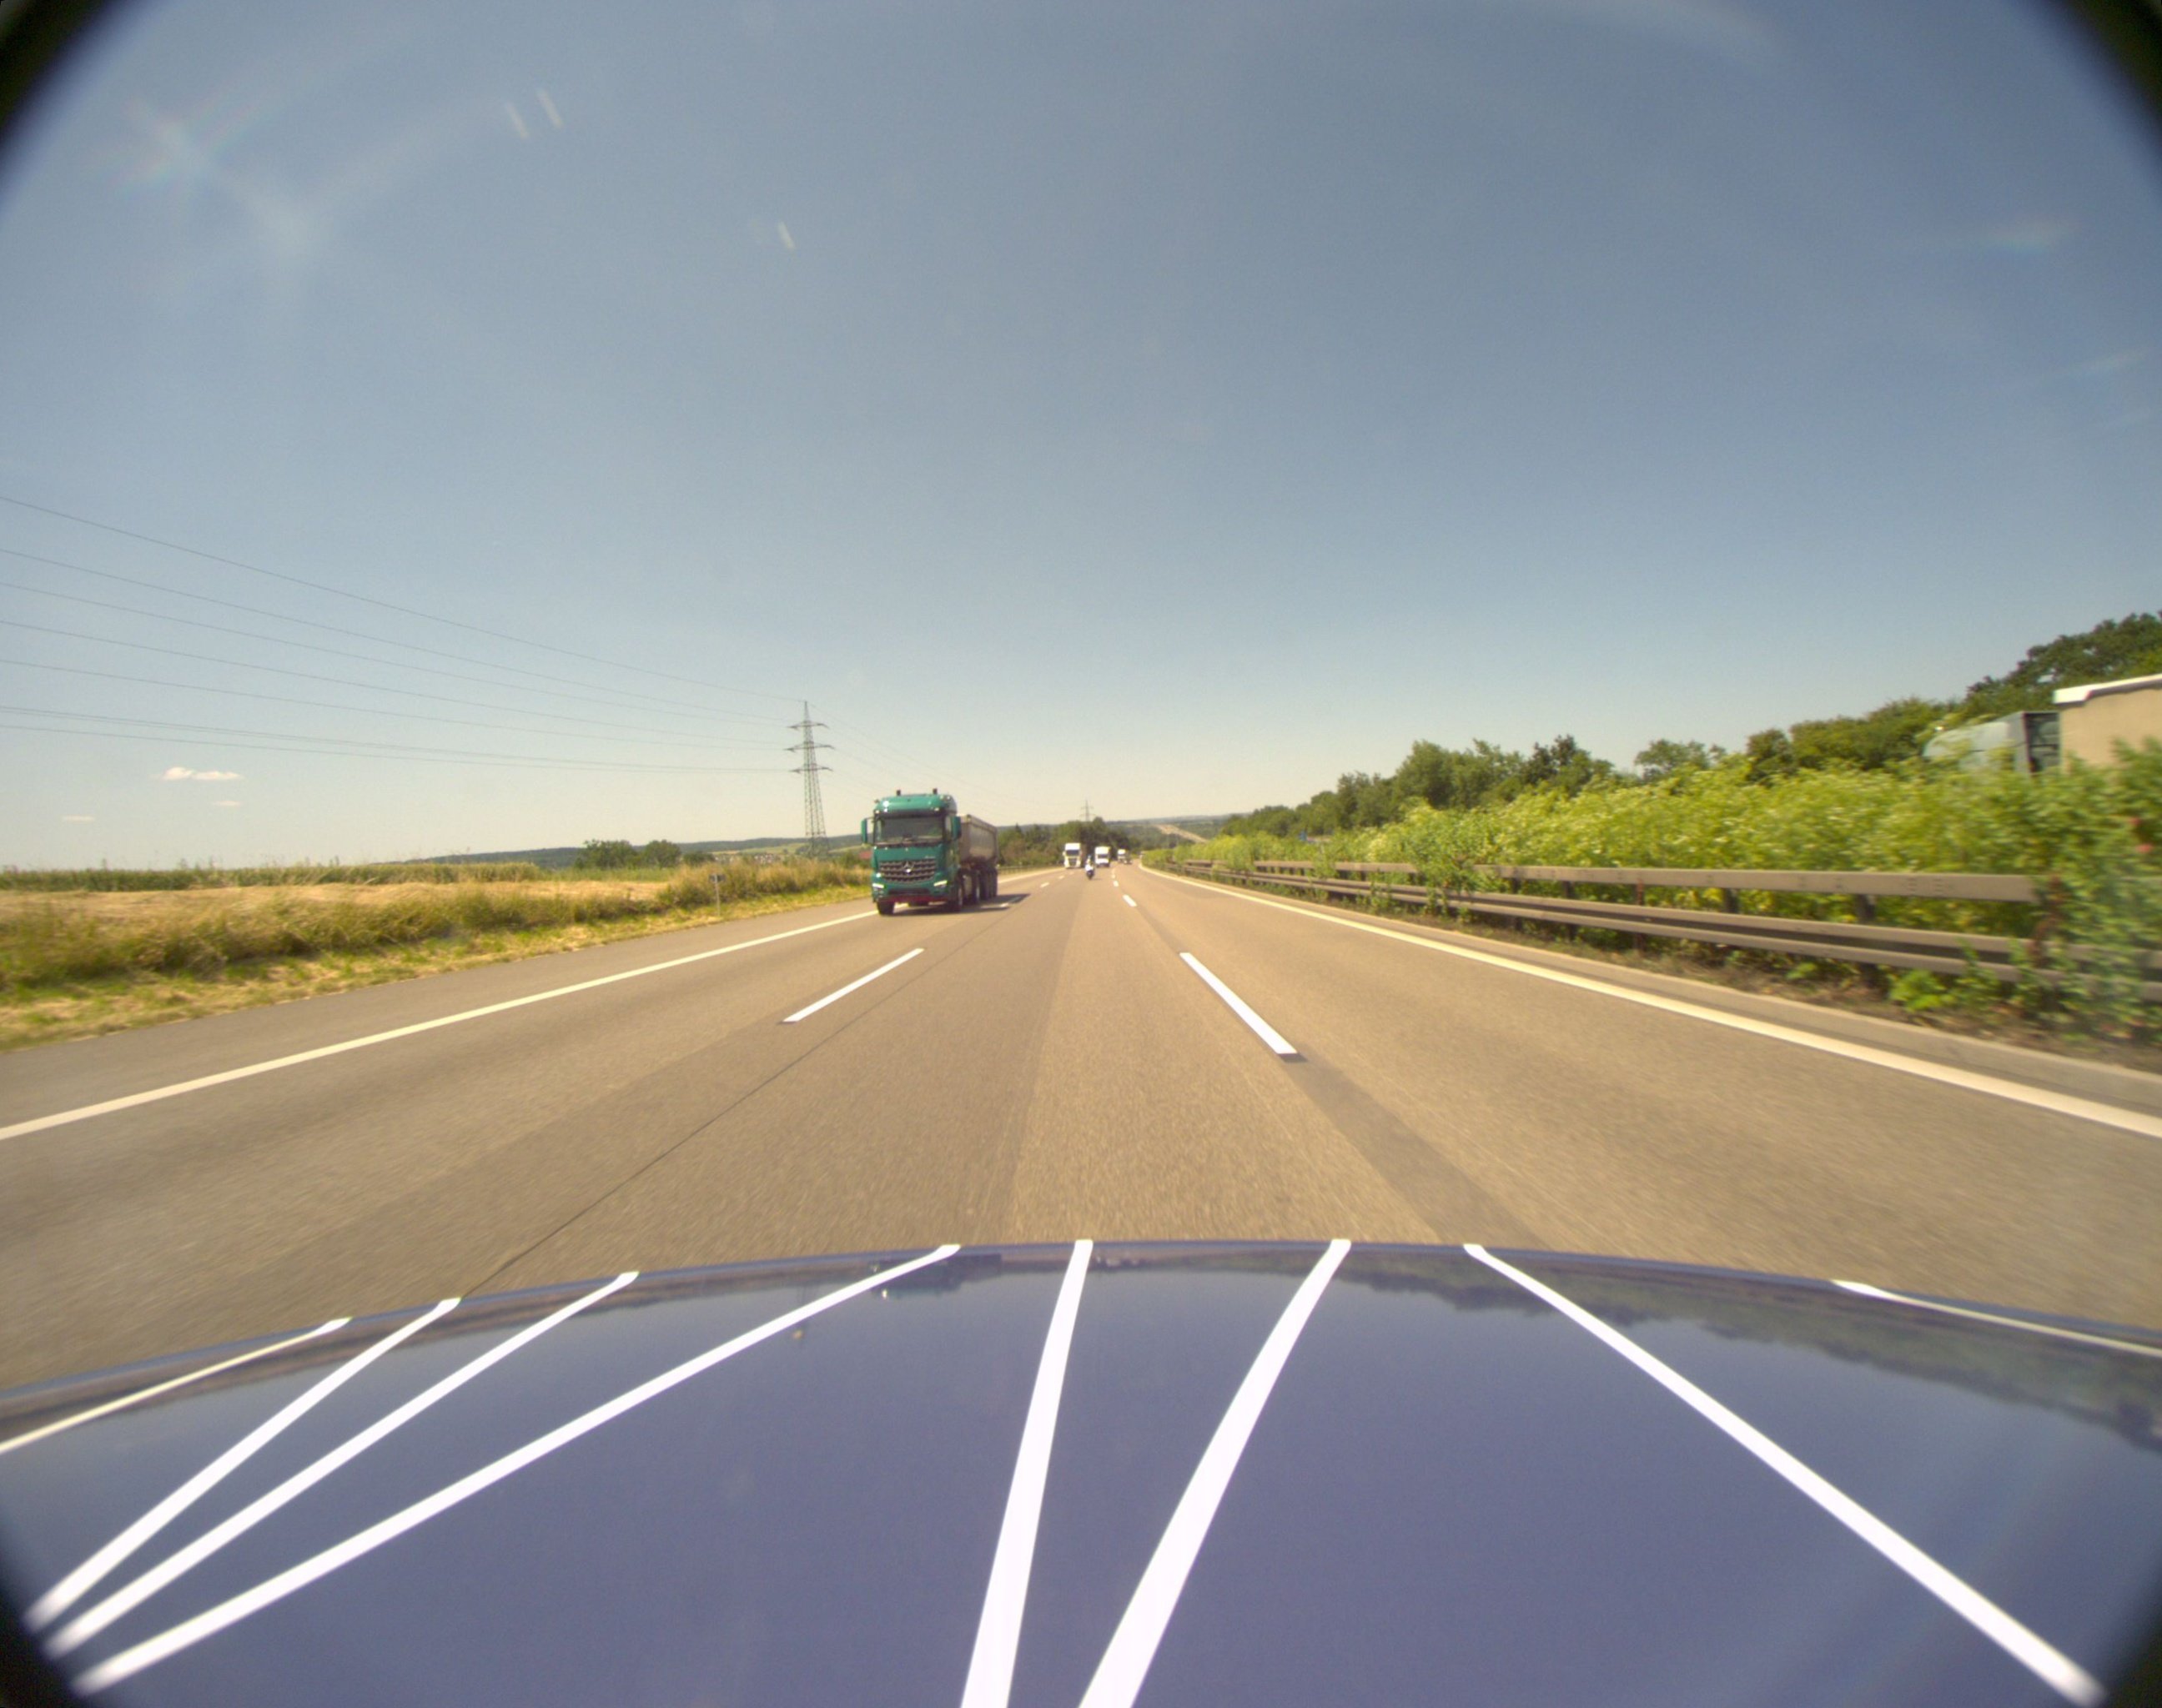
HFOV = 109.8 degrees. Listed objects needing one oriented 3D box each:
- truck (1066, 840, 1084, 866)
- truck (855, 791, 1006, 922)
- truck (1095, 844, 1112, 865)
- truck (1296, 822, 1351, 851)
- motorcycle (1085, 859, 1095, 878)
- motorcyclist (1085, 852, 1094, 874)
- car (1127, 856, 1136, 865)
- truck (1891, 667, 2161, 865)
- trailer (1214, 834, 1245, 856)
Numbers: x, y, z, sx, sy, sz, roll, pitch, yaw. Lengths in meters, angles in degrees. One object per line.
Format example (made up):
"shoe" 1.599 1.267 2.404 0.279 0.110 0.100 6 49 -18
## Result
"truck" -0.944 -0.217 125.103 2.567 4.129 6.248 -2 0 1
"truck" -4.985 0.043 28.348 2.872 3.702 12.762 -2 0 0
"truck" 3.705 0.100 123.569 2.512 3.268 8.107 -1 0 2
"truck" 21.696 -1.496 68.505 2.684 2.464 7.841 0 0 2
"motorcycle" 0.621 1.007 53.850 0.631 1.279 2.312 -2 0 0
"motorcyclist" 0.619 0.648 54.002 0.613 1.499 0.513 -2 1 0
"car" 11.385 1.443 171.643 1.704 1.958 4.000 -2 0 2
"truck" 20.421 -1.578 9.403 2.680 3.497 17.038 -2 0 0
"trailer" 25.079 -1.507 129.234 2.604 3.423 15.831 -2 0 2
